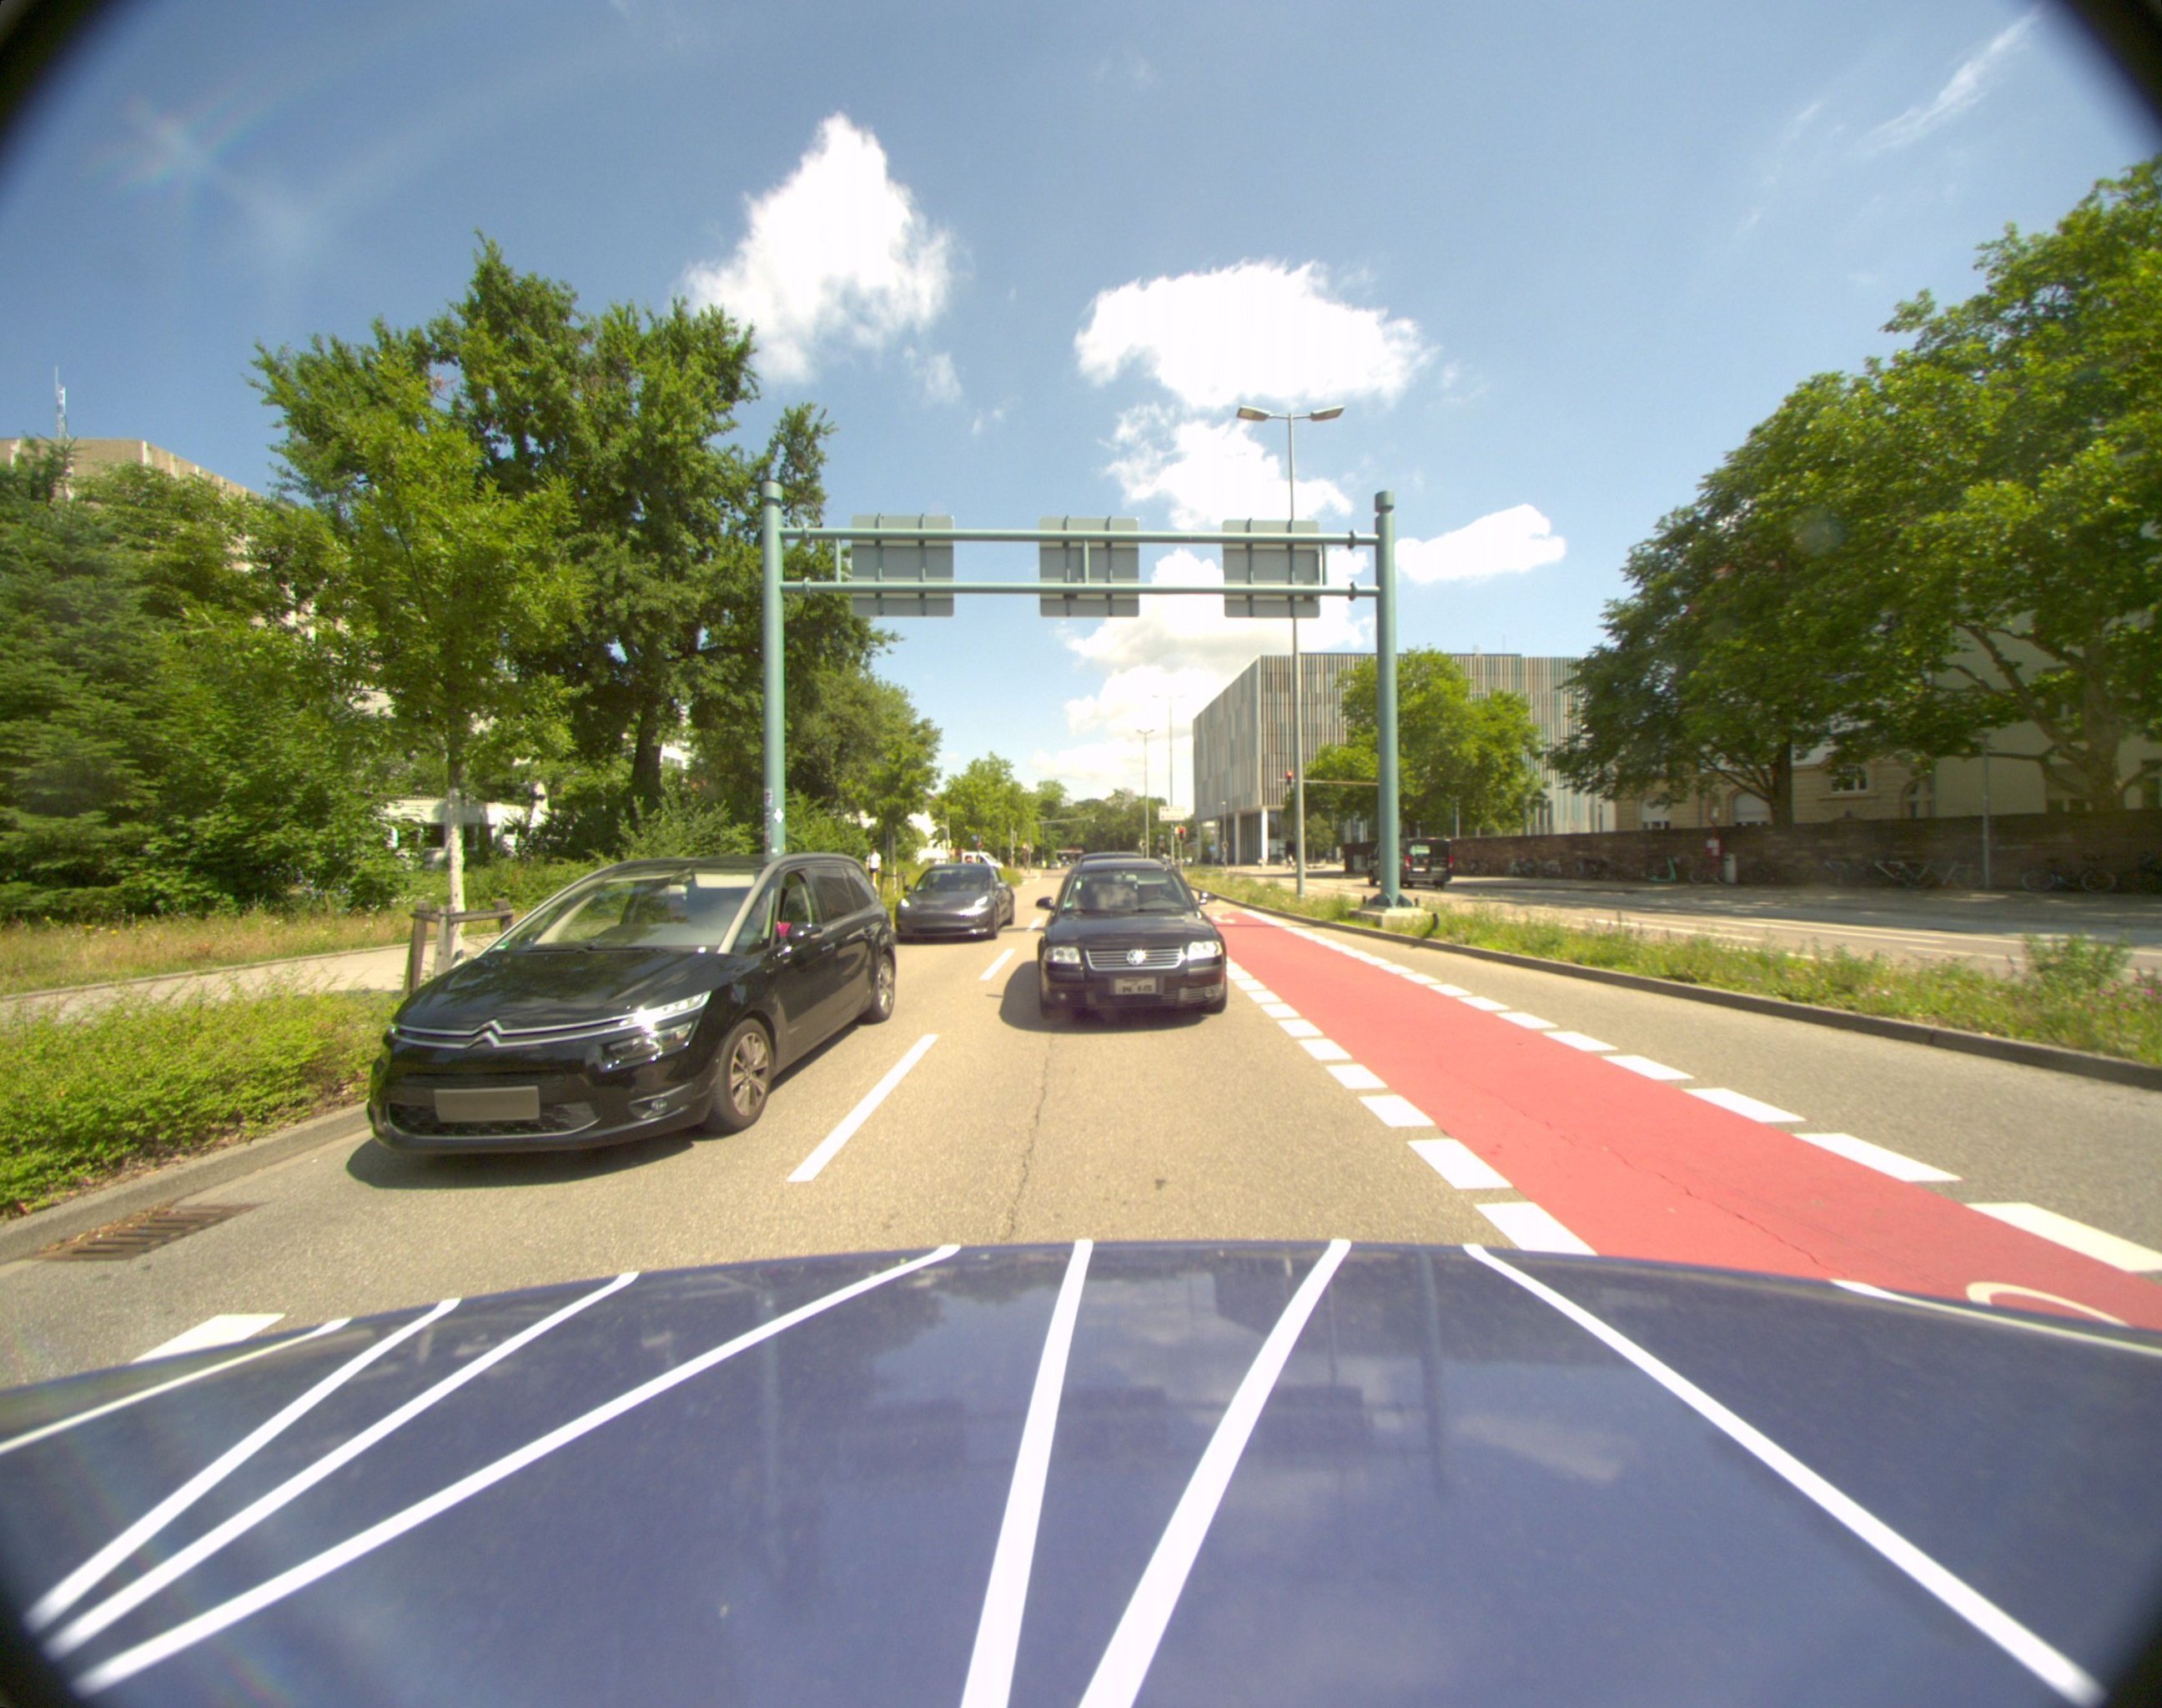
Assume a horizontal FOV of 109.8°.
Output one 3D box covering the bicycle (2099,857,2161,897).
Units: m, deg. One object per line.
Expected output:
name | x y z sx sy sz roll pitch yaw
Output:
bicycle | 27.109 0.578 19.136 0.398 0.997 1.759 -1 0 -13

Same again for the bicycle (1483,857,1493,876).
bicycle | 22.844 0.693 42.642 0.329 1.012 1.673 -1 0 22

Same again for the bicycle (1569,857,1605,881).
bicycle | 23.889 0.708 35.899 0.382 1.101 1.669 -1 0 -8

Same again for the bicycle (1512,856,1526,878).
bicycle | 23.118 0.679 40.120 0.382 1.101 1.673 -1 0 22

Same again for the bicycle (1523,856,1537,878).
bicycle | 23.217 0.685 39.304 0.382 1.101 1.673 -1 0 22

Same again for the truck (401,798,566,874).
truck | -26.848 -0.776 34.651 2.098 3.005 7.122 -2 1 -3

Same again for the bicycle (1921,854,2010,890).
bicycle | 26.277 0.513 22.612 0.398 1.037 1.759 -1 0 -13

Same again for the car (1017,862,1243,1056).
car | 0.469 0.874 8.390 1.751 1.426 4.520 -3 0 2

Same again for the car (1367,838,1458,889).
car | 14.820 0.409 34.294 2.214 2.158 4.521 0 0 2

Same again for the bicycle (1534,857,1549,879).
bicycle | 23.310 0.688 38.441 0.382 1.101 1.673 -1 0 22

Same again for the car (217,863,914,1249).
car | -2.809 0.937 5.640 1.862 1.613 4.521 -3 0 3

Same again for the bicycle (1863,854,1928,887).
bicycle | 25.911 0.509 24.190 0.377 1.037 1.415 -1 0 -13

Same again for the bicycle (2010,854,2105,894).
bicycle | 26.711 0.531 20.825 0.398 1.037 1.582 -1 0 -13

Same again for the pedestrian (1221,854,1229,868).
pedestrian | 20.215 0.992 106.749 0.825 1.906 0.807 -2 1 -5

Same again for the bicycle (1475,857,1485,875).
bicycle | 22.746 0.682 43.357 0.329 1.012 1.673 -1 0 22

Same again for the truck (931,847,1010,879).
truck | -8.969 0.697 61.891 5.807 2.287 2.465 -3 0 10

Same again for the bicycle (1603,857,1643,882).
bicycle | 24.134 0.678 33.882 0.383 1.101 1.669 -1 0 -10

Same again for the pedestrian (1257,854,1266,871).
pedestrian | 20.073 0.962 84.518 0.715 1.906 0.807 -2 1 -5

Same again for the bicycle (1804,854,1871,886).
bicycle | 25.571 0.529 25.725 0.383 1.037 1.668 -1 0 -11

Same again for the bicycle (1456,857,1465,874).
bicycle | 22.498 0.670 45.019 0.329 1.012 1.673 -1 0 22

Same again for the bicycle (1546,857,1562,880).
bicycle | 23.439 0.692 37.684 0.382 1.101 1.673 -1 0 22

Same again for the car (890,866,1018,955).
car | -2.372 1.011 15.315 1.765 1.409 4.363 -3 0 0

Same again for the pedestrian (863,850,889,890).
pedestrian | -9.249 0.696 34.297 0.844 1.755 0.841 -2 1 1

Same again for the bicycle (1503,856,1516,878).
bicycle | 22.862 0.684 40.561 0.382 1.101 1.673 -1 0 22

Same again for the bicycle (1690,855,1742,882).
bicycle | 24.721 0.552 29.612 0.383 1.037 1.668 -1 0 -11

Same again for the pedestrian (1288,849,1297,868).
pedestrian | 22.124 0.487 79.605 0.632 1.907 0.718 -2 1 -2

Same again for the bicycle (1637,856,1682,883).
bicycle | 24.446 0.643 32.146 0.383 1.101 1.668 -1 0 -11

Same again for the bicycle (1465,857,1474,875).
bicycle | 22.623 0.673 44.287 0.329 1.012 1.673 -1 0 22

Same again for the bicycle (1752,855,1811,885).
bicycle | 25.252 0.558 27.418 0.383 1.037 1.668 -1 0 -11

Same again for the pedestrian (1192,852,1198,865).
pedestrian | 17.186 0.695 114.414 0.715 1.906 0.807 -2 1 -5

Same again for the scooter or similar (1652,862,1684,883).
scooter or similar | 23.927 0.752 30.980 0.353 0.838 1.068 -1 0 -12

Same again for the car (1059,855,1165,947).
car | 0.614 0.817 15.359 1.751 1.495 4.521 -3 0 2
